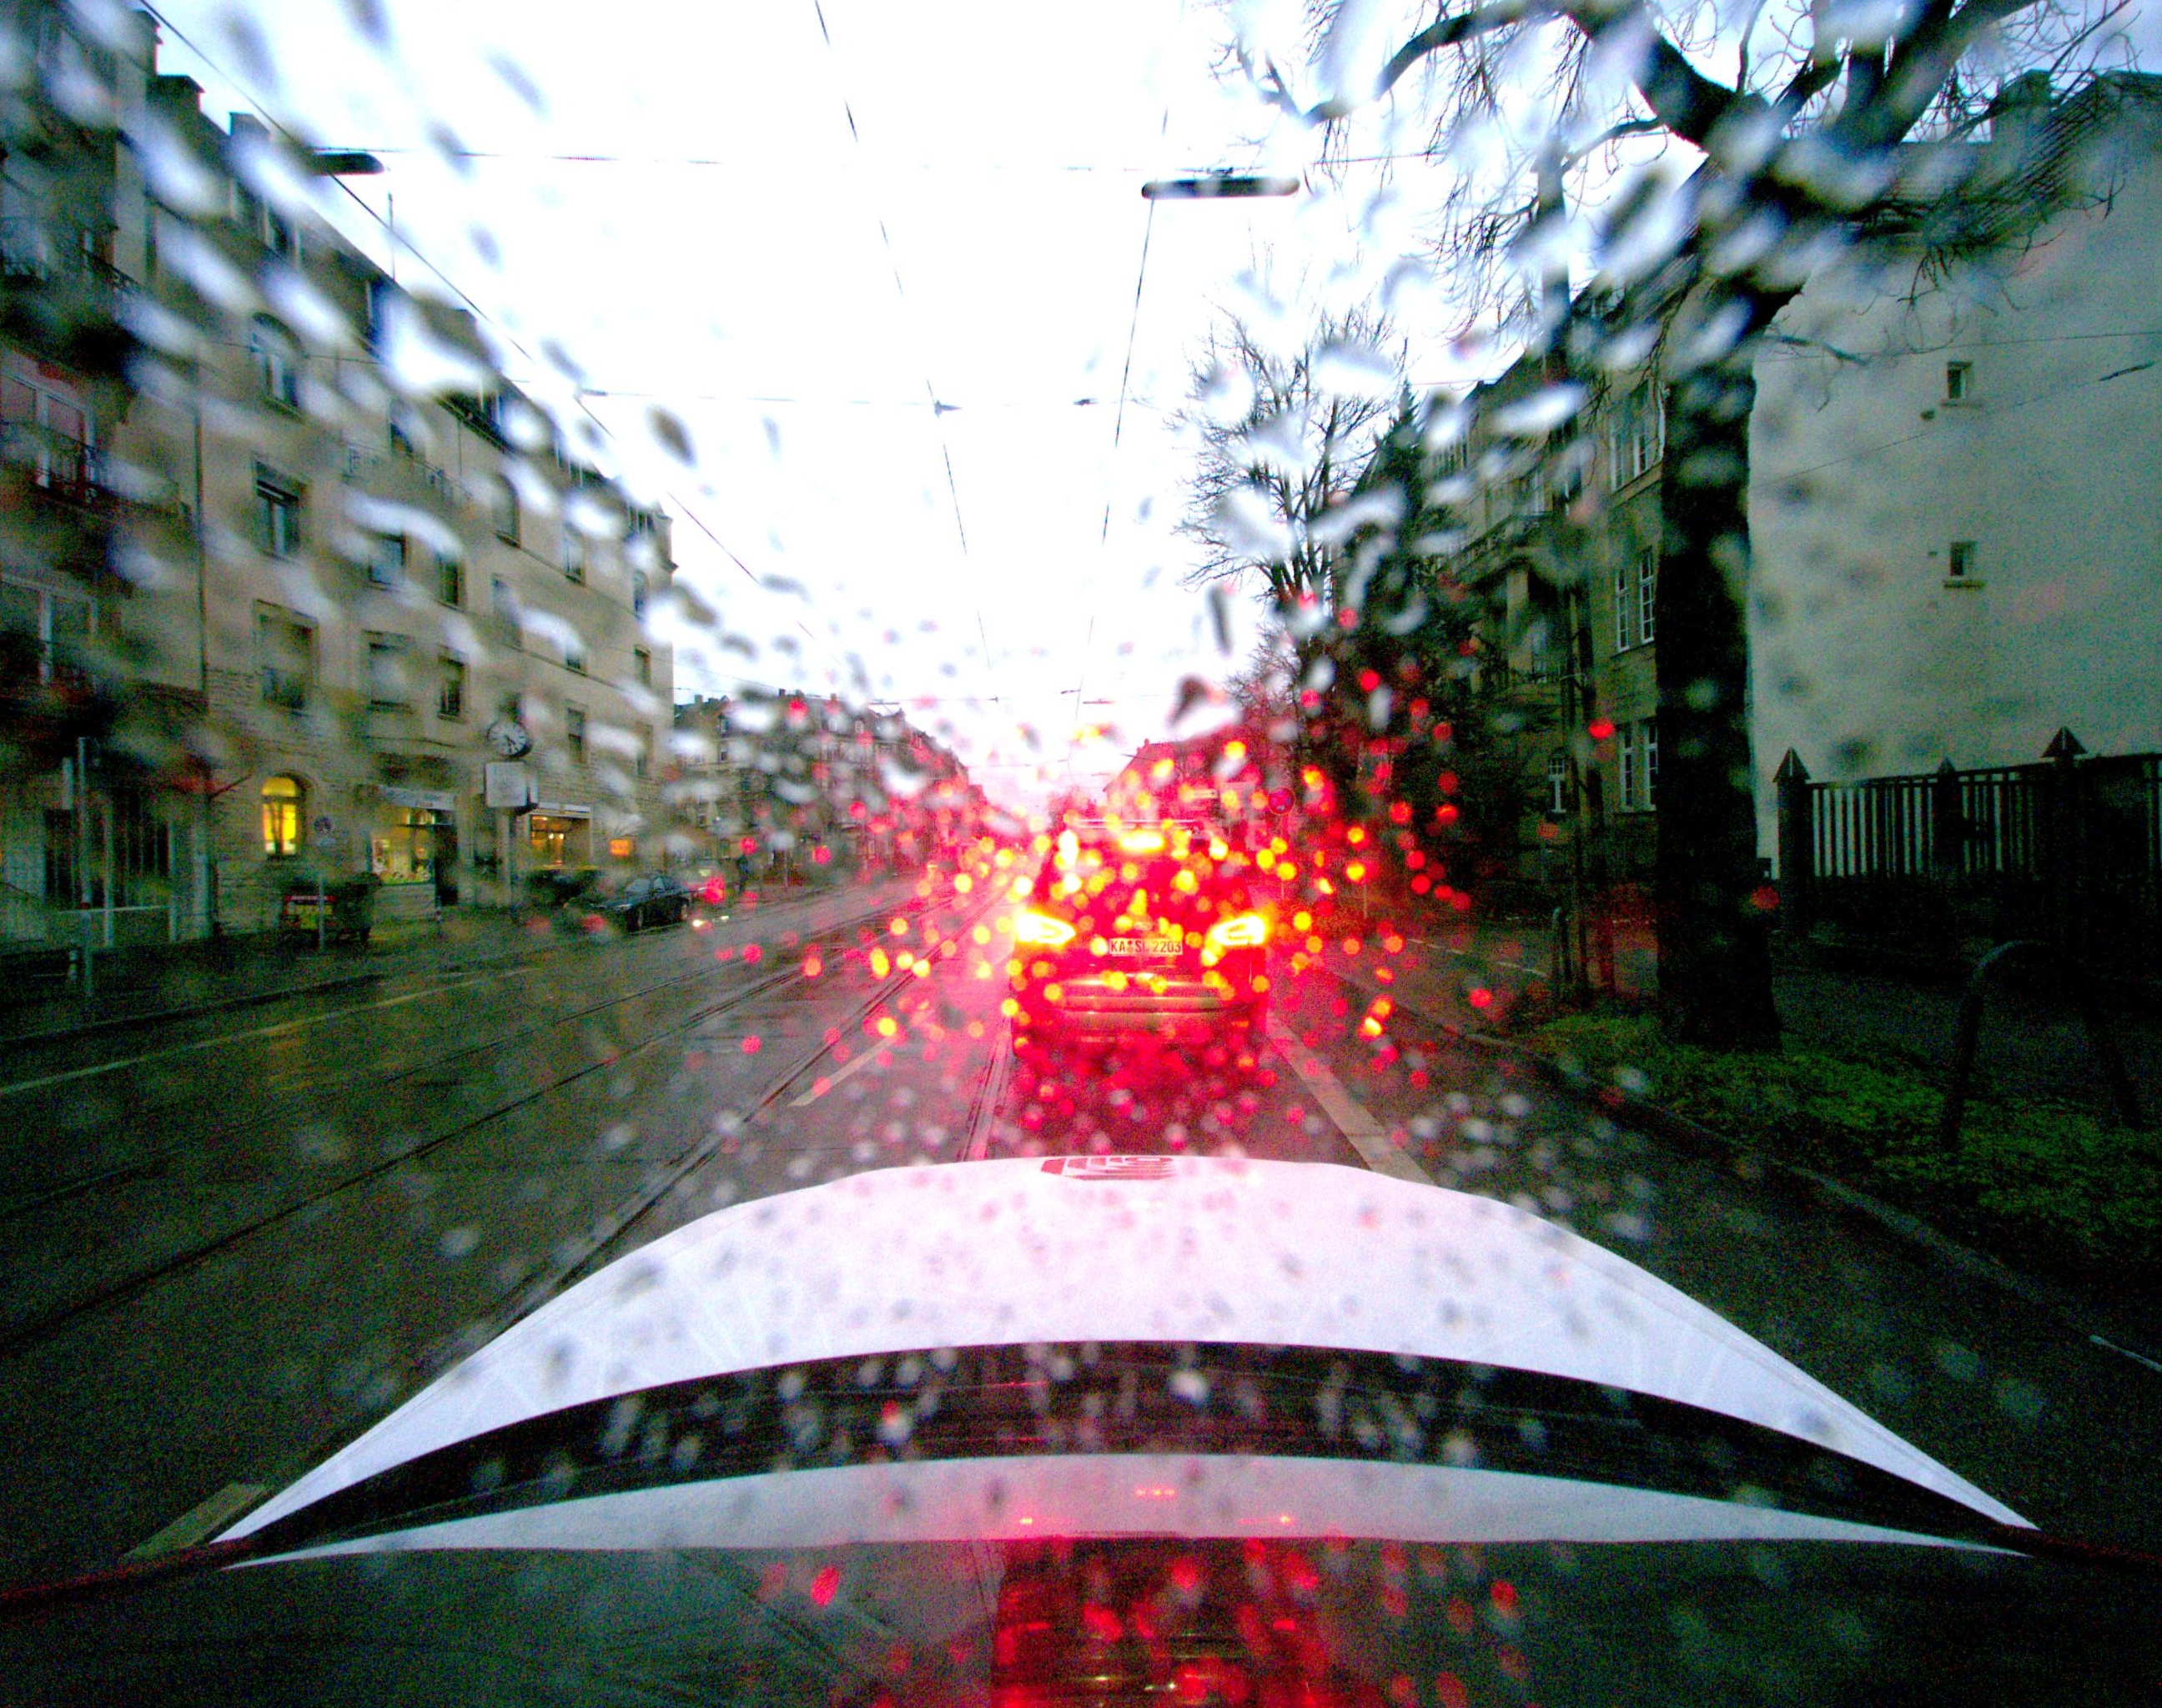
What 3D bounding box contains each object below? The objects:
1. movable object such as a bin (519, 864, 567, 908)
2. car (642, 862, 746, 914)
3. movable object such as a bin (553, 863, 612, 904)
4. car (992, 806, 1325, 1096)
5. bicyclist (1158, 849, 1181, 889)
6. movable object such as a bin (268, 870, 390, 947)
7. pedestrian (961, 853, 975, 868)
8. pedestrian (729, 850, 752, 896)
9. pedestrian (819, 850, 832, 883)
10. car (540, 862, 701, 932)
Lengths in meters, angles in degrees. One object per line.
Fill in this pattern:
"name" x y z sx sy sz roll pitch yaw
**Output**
"movable object such as a bin" -17.859 1.048 27.043 0.896 1.377 1.006 -1 0 -2
"car" -13.387 1.120 28.454 2.035 1.551 4.022 2 0 -7
"movable object such as a bin" -17.391 1.023 28.445 1.290 1.367 1.251 -1 0 -2
"car" 0.506 0.606 7.467 2.097 1.816 4.660 0 0 0
"bicyclist" 3.748 0.619 34.566 0.716 1.662 1.054 2 0 -6
"movable object such as a bin" -15.094 1.066 16.397 1.264 1.420 1.249 -1 0 -2
"pedestrian" -9.502 0.556 68.370 1.044 1.200 0.884 -1 -1 -1
"pedestrian" -15.048 0.838 35.996 0.748 2.014 0.652 -1 -1 34
"pedestrian" -15.819 0.770 50.396 0.707 2.013 0.656 -1 0 -21
"car" -12.483 1.095 22.496 1.982 1.645 4.623 3 -1 -4
